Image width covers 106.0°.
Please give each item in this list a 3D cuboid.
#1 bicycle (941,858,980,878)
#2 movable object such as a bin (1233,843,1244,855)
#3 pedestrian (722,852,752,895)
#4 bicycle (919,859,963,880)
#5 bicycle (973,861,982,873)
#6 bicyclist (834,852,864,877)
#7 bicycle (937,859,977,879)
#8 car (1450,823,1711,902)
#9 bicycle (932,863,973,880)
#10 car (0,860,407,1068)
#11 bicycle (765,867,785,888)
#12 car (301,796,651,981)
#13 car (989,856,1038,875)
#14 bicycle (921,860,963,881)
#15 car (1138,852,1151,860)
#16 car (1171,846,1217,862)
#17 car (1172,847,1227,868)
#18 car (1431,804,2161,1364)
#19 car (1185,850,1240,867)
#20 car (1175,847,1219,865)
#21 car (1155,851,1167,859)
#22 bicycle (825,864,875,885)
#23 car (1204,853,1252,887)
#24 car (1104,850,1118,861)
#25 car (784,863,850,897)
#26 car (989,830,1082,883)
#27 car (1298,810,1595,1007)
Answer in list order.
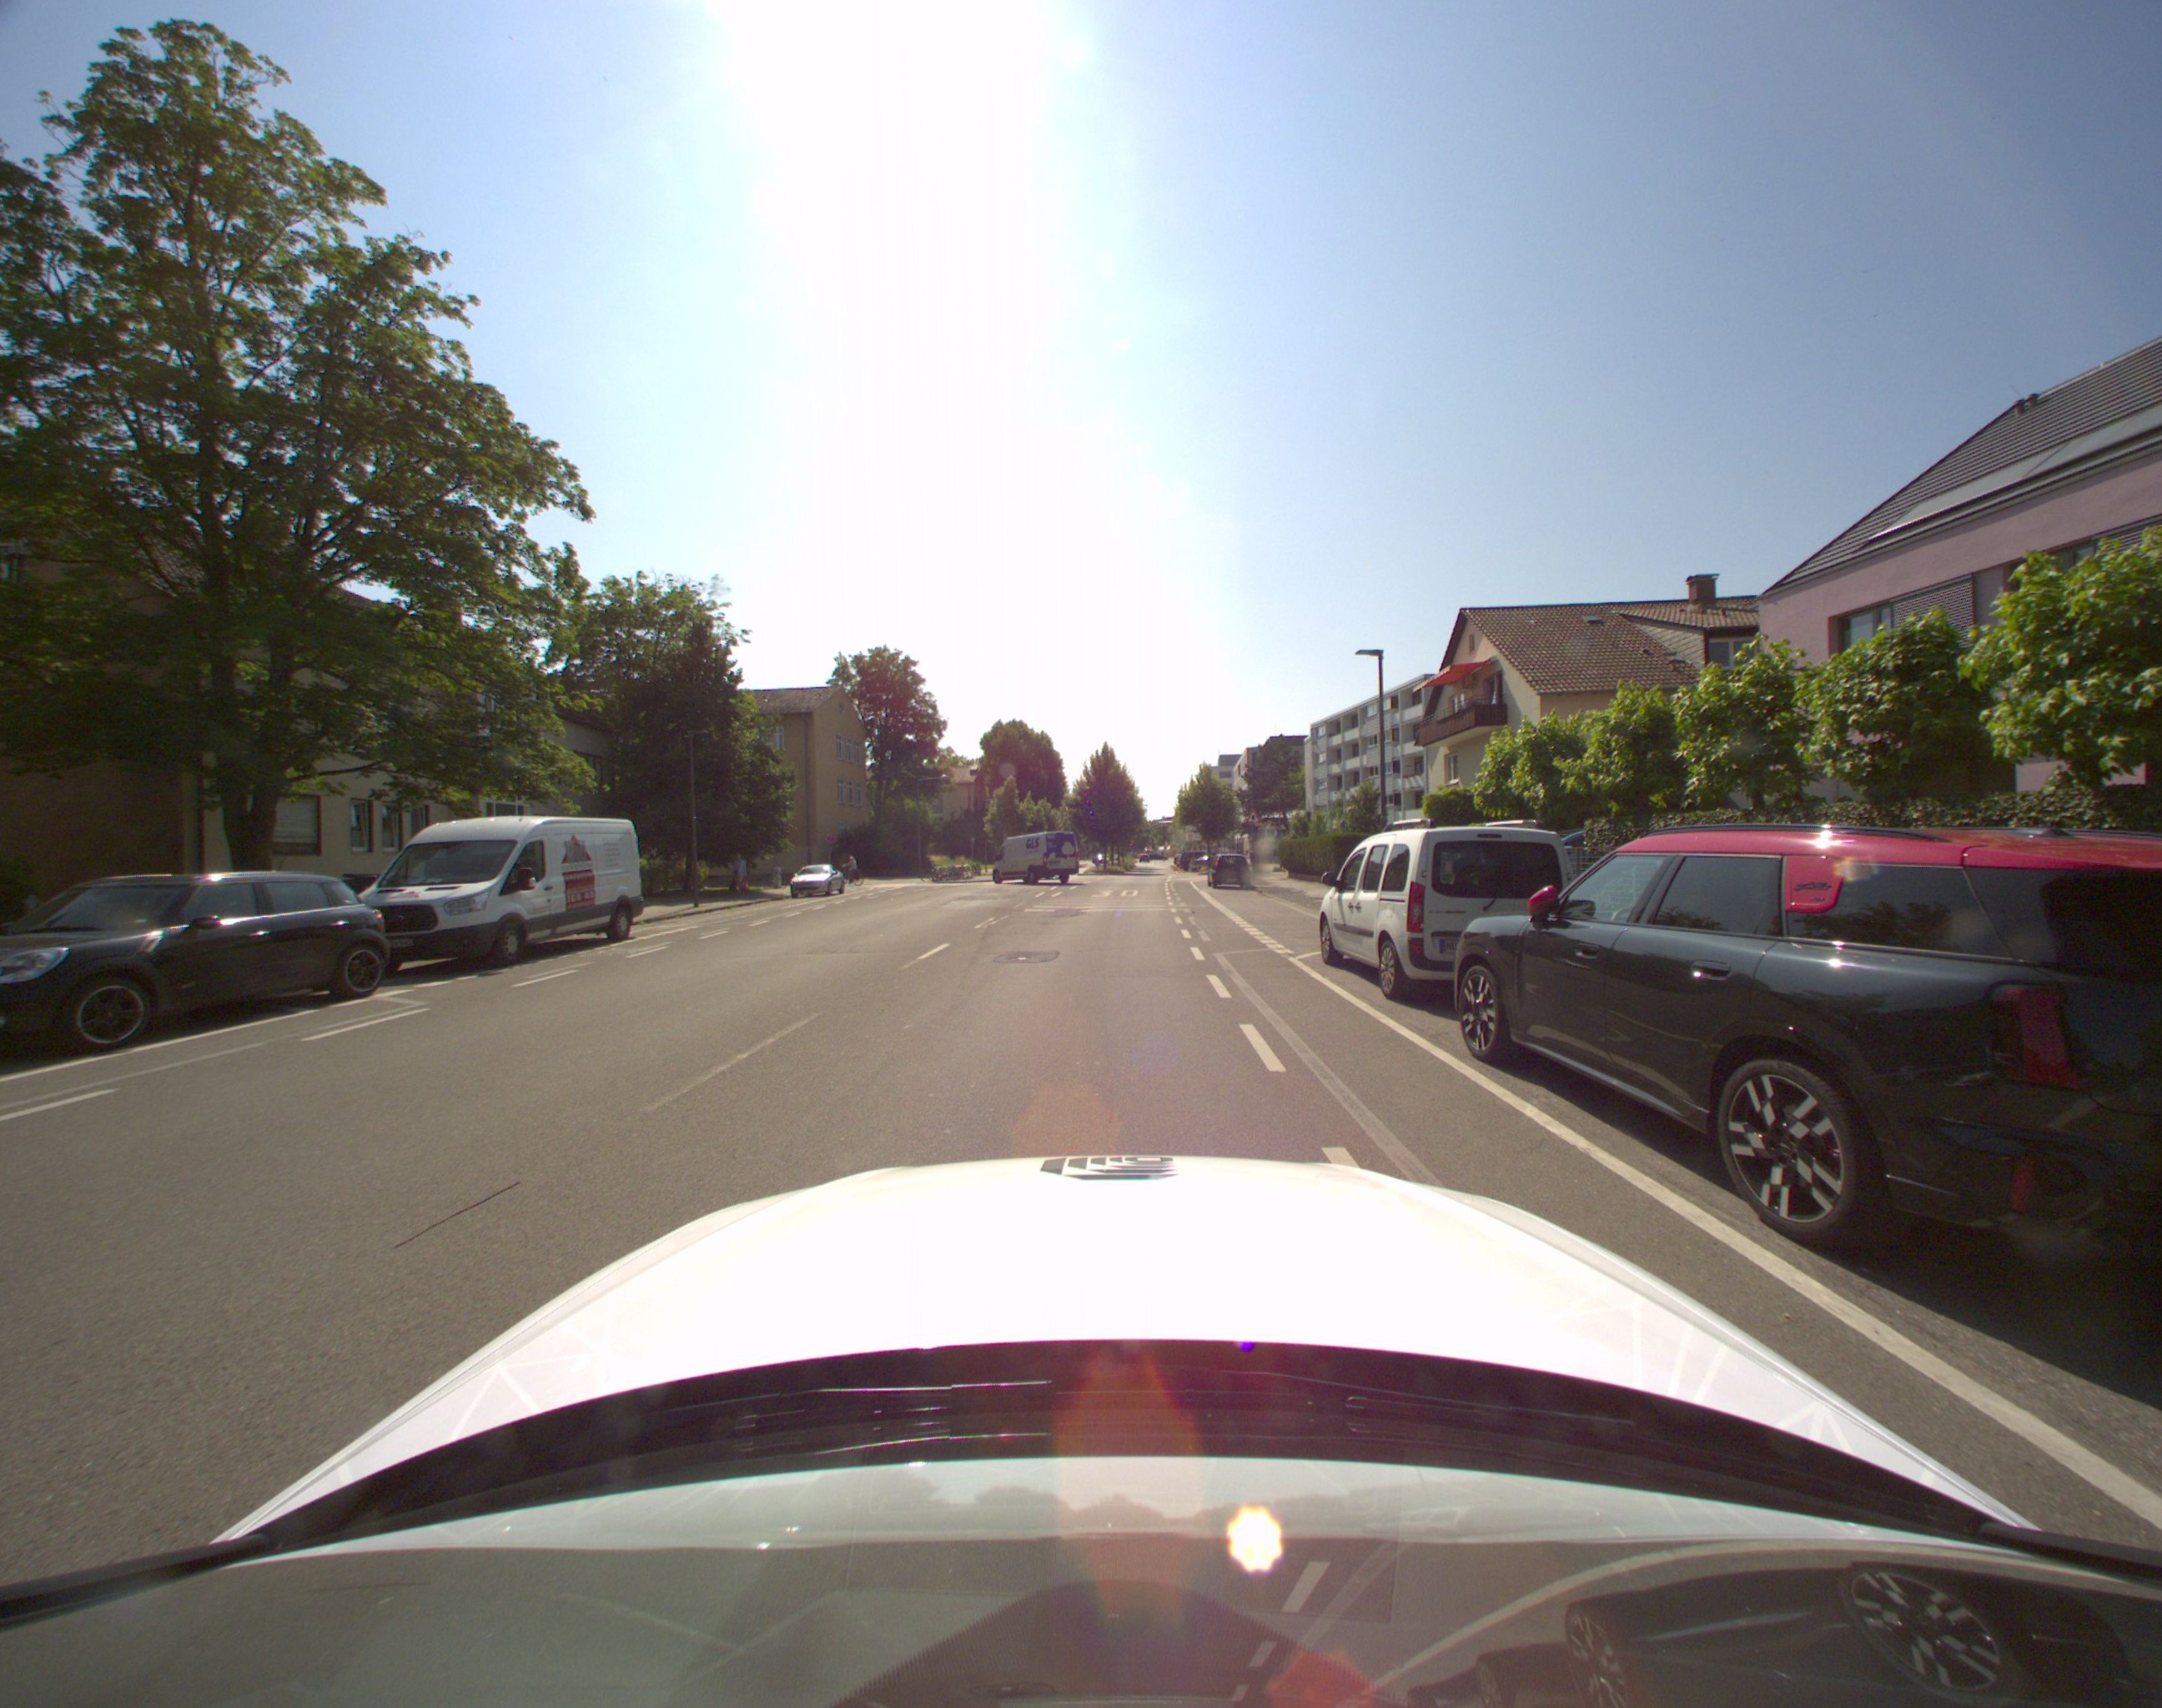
[{"bbox_3d":[-8.287,0.961,56.039,2.534,1.256,0.740,-1,0,2],"label":"bicycle"},{"bbox_3d":[22.809,-0.683,118.314,1.302,1.592,1.397,-4,0,3],"label":"movable object such as a bin"},{"bbox_3d":[-14.818,0.834,35.098,0.970,1.780,0.725,-1,0,1],"label":"pedestrian"},{"bbox_3d":[-8.837,0.977,51.465,2.534,1.256,0.740,-2,0,2],"label":"bicycle"},{"bbox_3d":[-8.171,1.011,64.230,0.519,0.903,1.271,-2,-1,1],"label":"bicycle"},{"bbox_3d":[-13.553,0.620,47.572,1.343,1.403,0.963,-2,0,10],"label":"bicyclist"},{"bbox_3d":[-8.359,1.009,54.942,2.505,1.256,0.740,-2,0,2],"label":"bicycle"},{"bbox_3d":[11.890,0.192,19.678,5.067,1.706,1.979,-1,0,2],"label":"car"},{"bbox_3d":[-8.422,1.146,53.520,2.534,0.987,0.740,-2,1,2],"label":"bicycle"},{"bbox_3d":[-9.414,0.918,8.347,1.716,1.559,3.997,-2,1,-2],"label":"car"},{"bbox_3d":[-16.464,1.247,43.790,0.380,1.081,1.695,-2,1,-44],"label":"bicycle"},{"bbox_3d":[-10.014,0.445,14.369,2.086,2.496,5.941,-2,1,-6],"label":"car"},{"bbox_3d":[-5.971,1.002,71.776,3.995,1.466,1.989,-3,1,-16],"label":"car"},{"bbox_3d":[-8.983,1.037,52.557,2.534,1.239,0.740,-2,0,2],"label":"bicycle"},{"bbox_3d":[10.891,0.358,139.304,1.986,1.398,4.002,-1,0,2],"label":"car"},{"bbox_3d":[12.127,0.017,87.049,4.759,1.660,1.737,-1,0,-29],"label":"car"},{"bbox_3d":[9.873,0.273,67.643,4.131,1.640,2.026,-1,0,-28],"label":"car"},{"bbox_3d":[3.643,0.611,4.456,1.755,1.593,4.317,-1,1,3],"label":"car"},{"bbox_3d":[10.490,0.367,64.816,4.001,1.236,1.741,-1,0,-21],"label":"car"},{"bbox_3d":[11.492,0.176,80.911,3.983,1.640,1.749,-1,0,-7],"label":"car"},{"bbox_3d":[15.251,0.233,155.754,1.814,1.451,4.013,-1,0,12],"label":"car"},{"bbox_3d":[-13.474,1.193,47.523,2.529,1.113,0.962,-2,1,9],"label":"bicycle"},{"bbox_3d":[6.341,0.655,35.470,1.610,1.390,4.004,0,0,3],"label":"car"},{"bbox_3d":[4.536,0.254,122.500,1.732,1.547,4.080,-3,0,6],"label":"car"},{"bbox_3d":[-11.659,1.103,36.186,1.716,1.266,3.997,-2,1,-2],"label":"car"},{"bbox_3d":[-2.503,0.167,42.780,2.291,2.524,6.075,-2,0,-31],"label":"car"},{"bbox_3d":[4.050,0.525,9.963,1.755,1.827,4.601,1,0,3],"label":"car"}]
